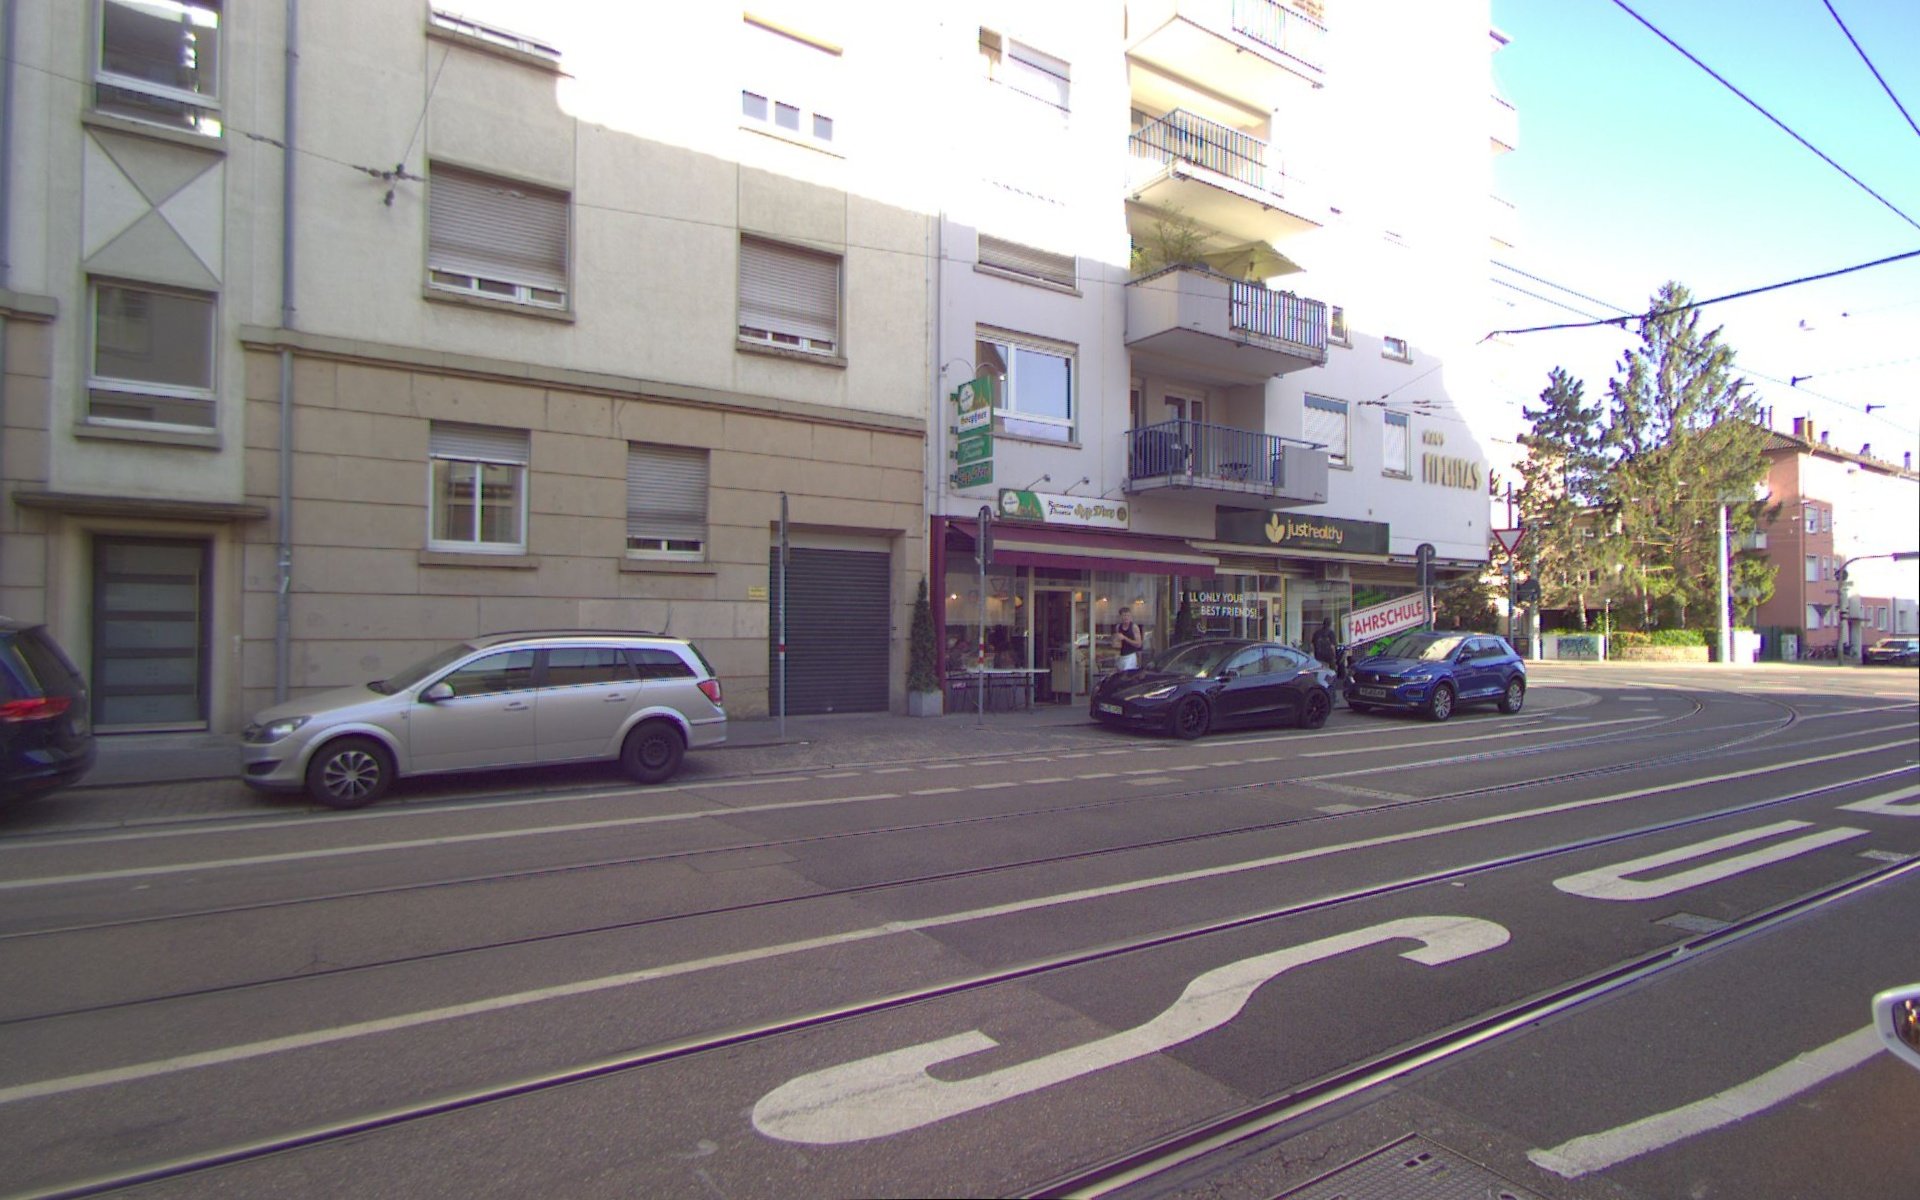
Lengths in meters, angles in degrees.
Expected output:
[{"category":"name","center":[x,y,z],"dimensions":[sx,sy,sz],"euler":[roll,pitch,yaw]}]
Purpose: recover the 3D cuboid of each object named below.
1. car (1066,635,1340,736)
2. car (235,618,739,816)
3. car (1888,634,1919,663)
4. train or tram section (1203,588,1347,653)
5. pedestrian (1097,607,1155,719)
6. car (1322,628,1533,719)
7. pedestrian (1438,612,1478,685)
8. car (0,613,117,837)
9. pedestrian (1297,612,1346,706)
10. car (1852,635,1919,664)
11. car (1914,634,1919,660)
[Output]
[{"category":"car","center":[3.959,1.270,16.100],"dimensions":[4.382,1.405,1.810],"euler":[1,-2,-34]},{"category":"car","center":[-4.700,1.037,10.319],"dimensions":[4.319,1.580,1.981],"euler":[2,0,-34]},{"category":"car","center":[54.302,2.737,56.590],"dimensions":[4.250,1.518,1.806],"euler":[2,0,-30]},{"category":"train or tram section","center":[19.246,1.211,62.728],"dimensions":[3.017,3.641,12.606],"euler":[1,-1,-11]},{"category":"pedestrian","center":[2.822,1.058,17.084],"dimensions":[0.725,1.857,0.595],"euler":[2,0,-30]},{"category":"car","center":[8.940,1.325,19.129],"dimensions":[4.030,1.552,1.858],"euler":[1,-2,-34]},{"category":"pedestrian","center":[14.300,1.372,28.852],"dimensions":[0.688,2.040,0.764],"euler":[2,0,-35]},{"category":"car","center":[-9.005,0.894,7.256],"dimensions":[4.249,1.606,1.893],"euler":[2,0,-35]},{"category":"pedestrian","center":[7.276,1.176,20.213],"dimensions":[0.691,1.829,0.568],"euler":[2,0,-30]},{"category":"car","center":[49.596,2.634,53.655],"dimensions":[3.949,1.440,1.784],"euler":[2,0,-31]},{"category":"car","center":[58.312,2.831,59.364],"dimensions":[4.103,1.531,1.778],"euler":[2,0,-31]}]
